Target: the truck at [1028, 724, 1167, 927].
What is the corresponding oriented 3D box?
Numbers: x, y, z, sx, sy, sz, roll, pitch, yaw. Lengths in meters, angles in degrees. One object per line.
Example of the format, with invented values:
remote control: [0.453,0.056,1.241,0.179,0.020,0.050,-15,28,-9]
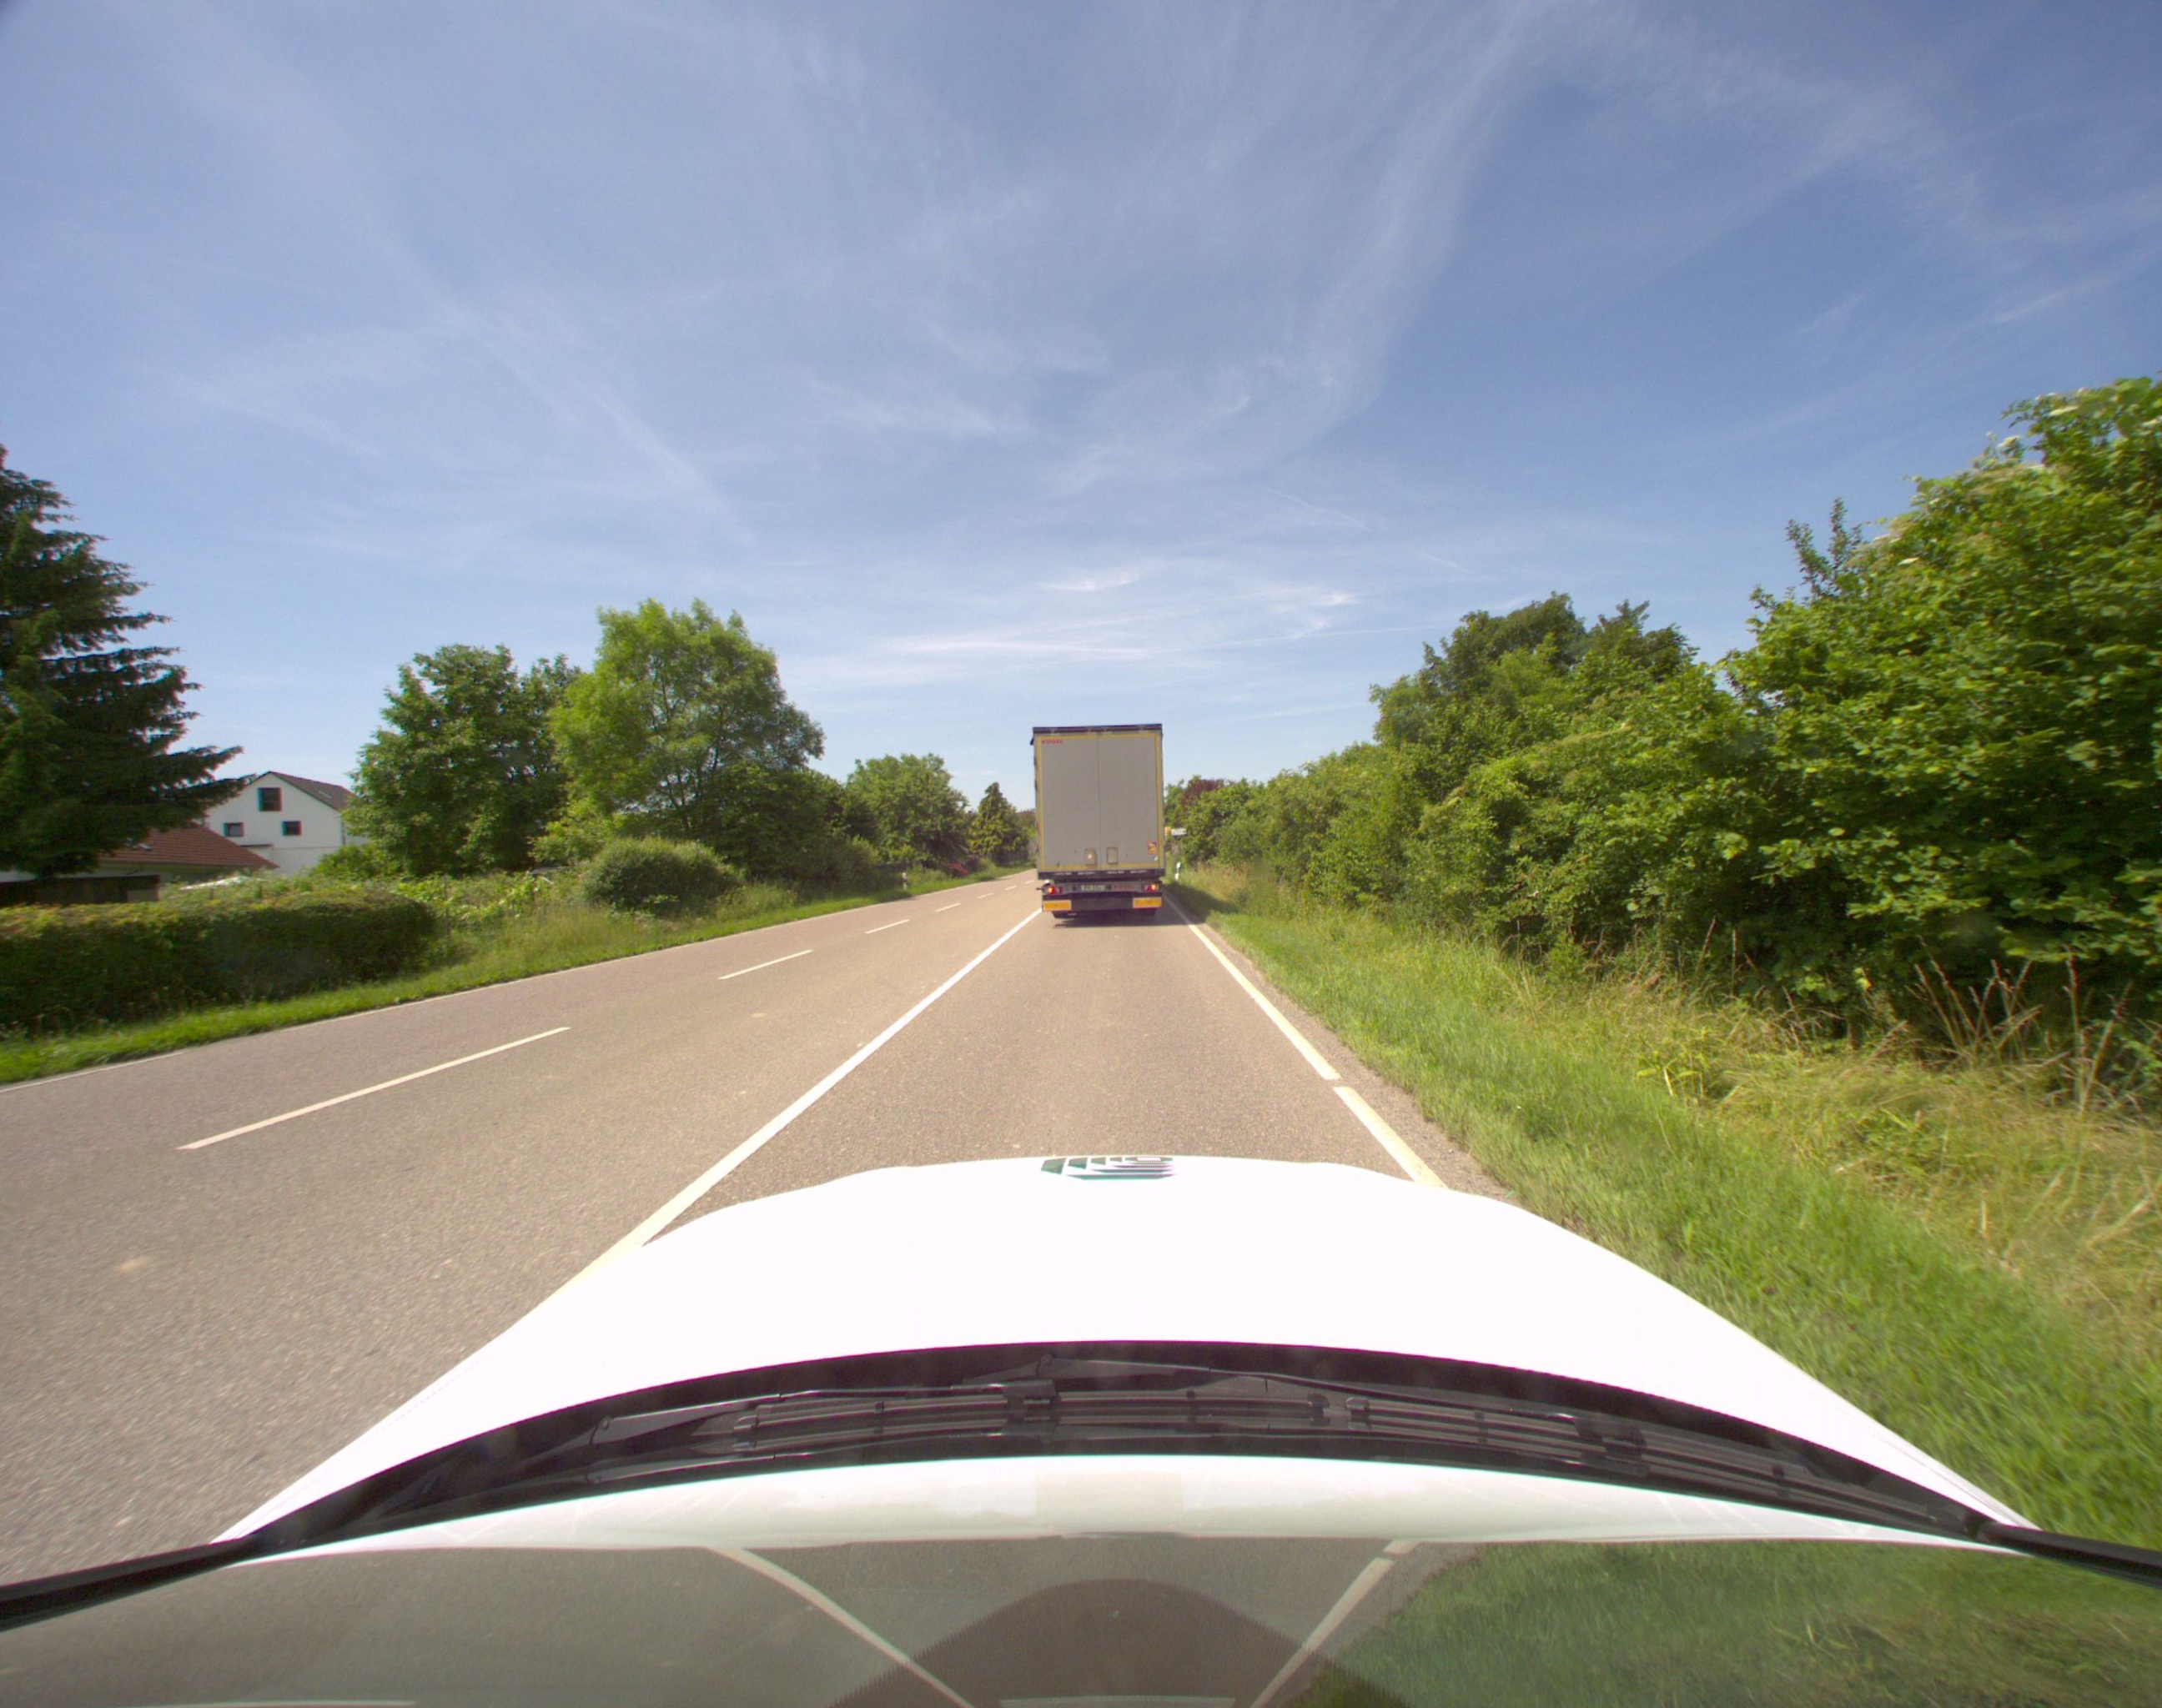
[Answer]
truck: [0.432,-0.571,20.346,2.638,3.917,8.828,-1,0,1]
